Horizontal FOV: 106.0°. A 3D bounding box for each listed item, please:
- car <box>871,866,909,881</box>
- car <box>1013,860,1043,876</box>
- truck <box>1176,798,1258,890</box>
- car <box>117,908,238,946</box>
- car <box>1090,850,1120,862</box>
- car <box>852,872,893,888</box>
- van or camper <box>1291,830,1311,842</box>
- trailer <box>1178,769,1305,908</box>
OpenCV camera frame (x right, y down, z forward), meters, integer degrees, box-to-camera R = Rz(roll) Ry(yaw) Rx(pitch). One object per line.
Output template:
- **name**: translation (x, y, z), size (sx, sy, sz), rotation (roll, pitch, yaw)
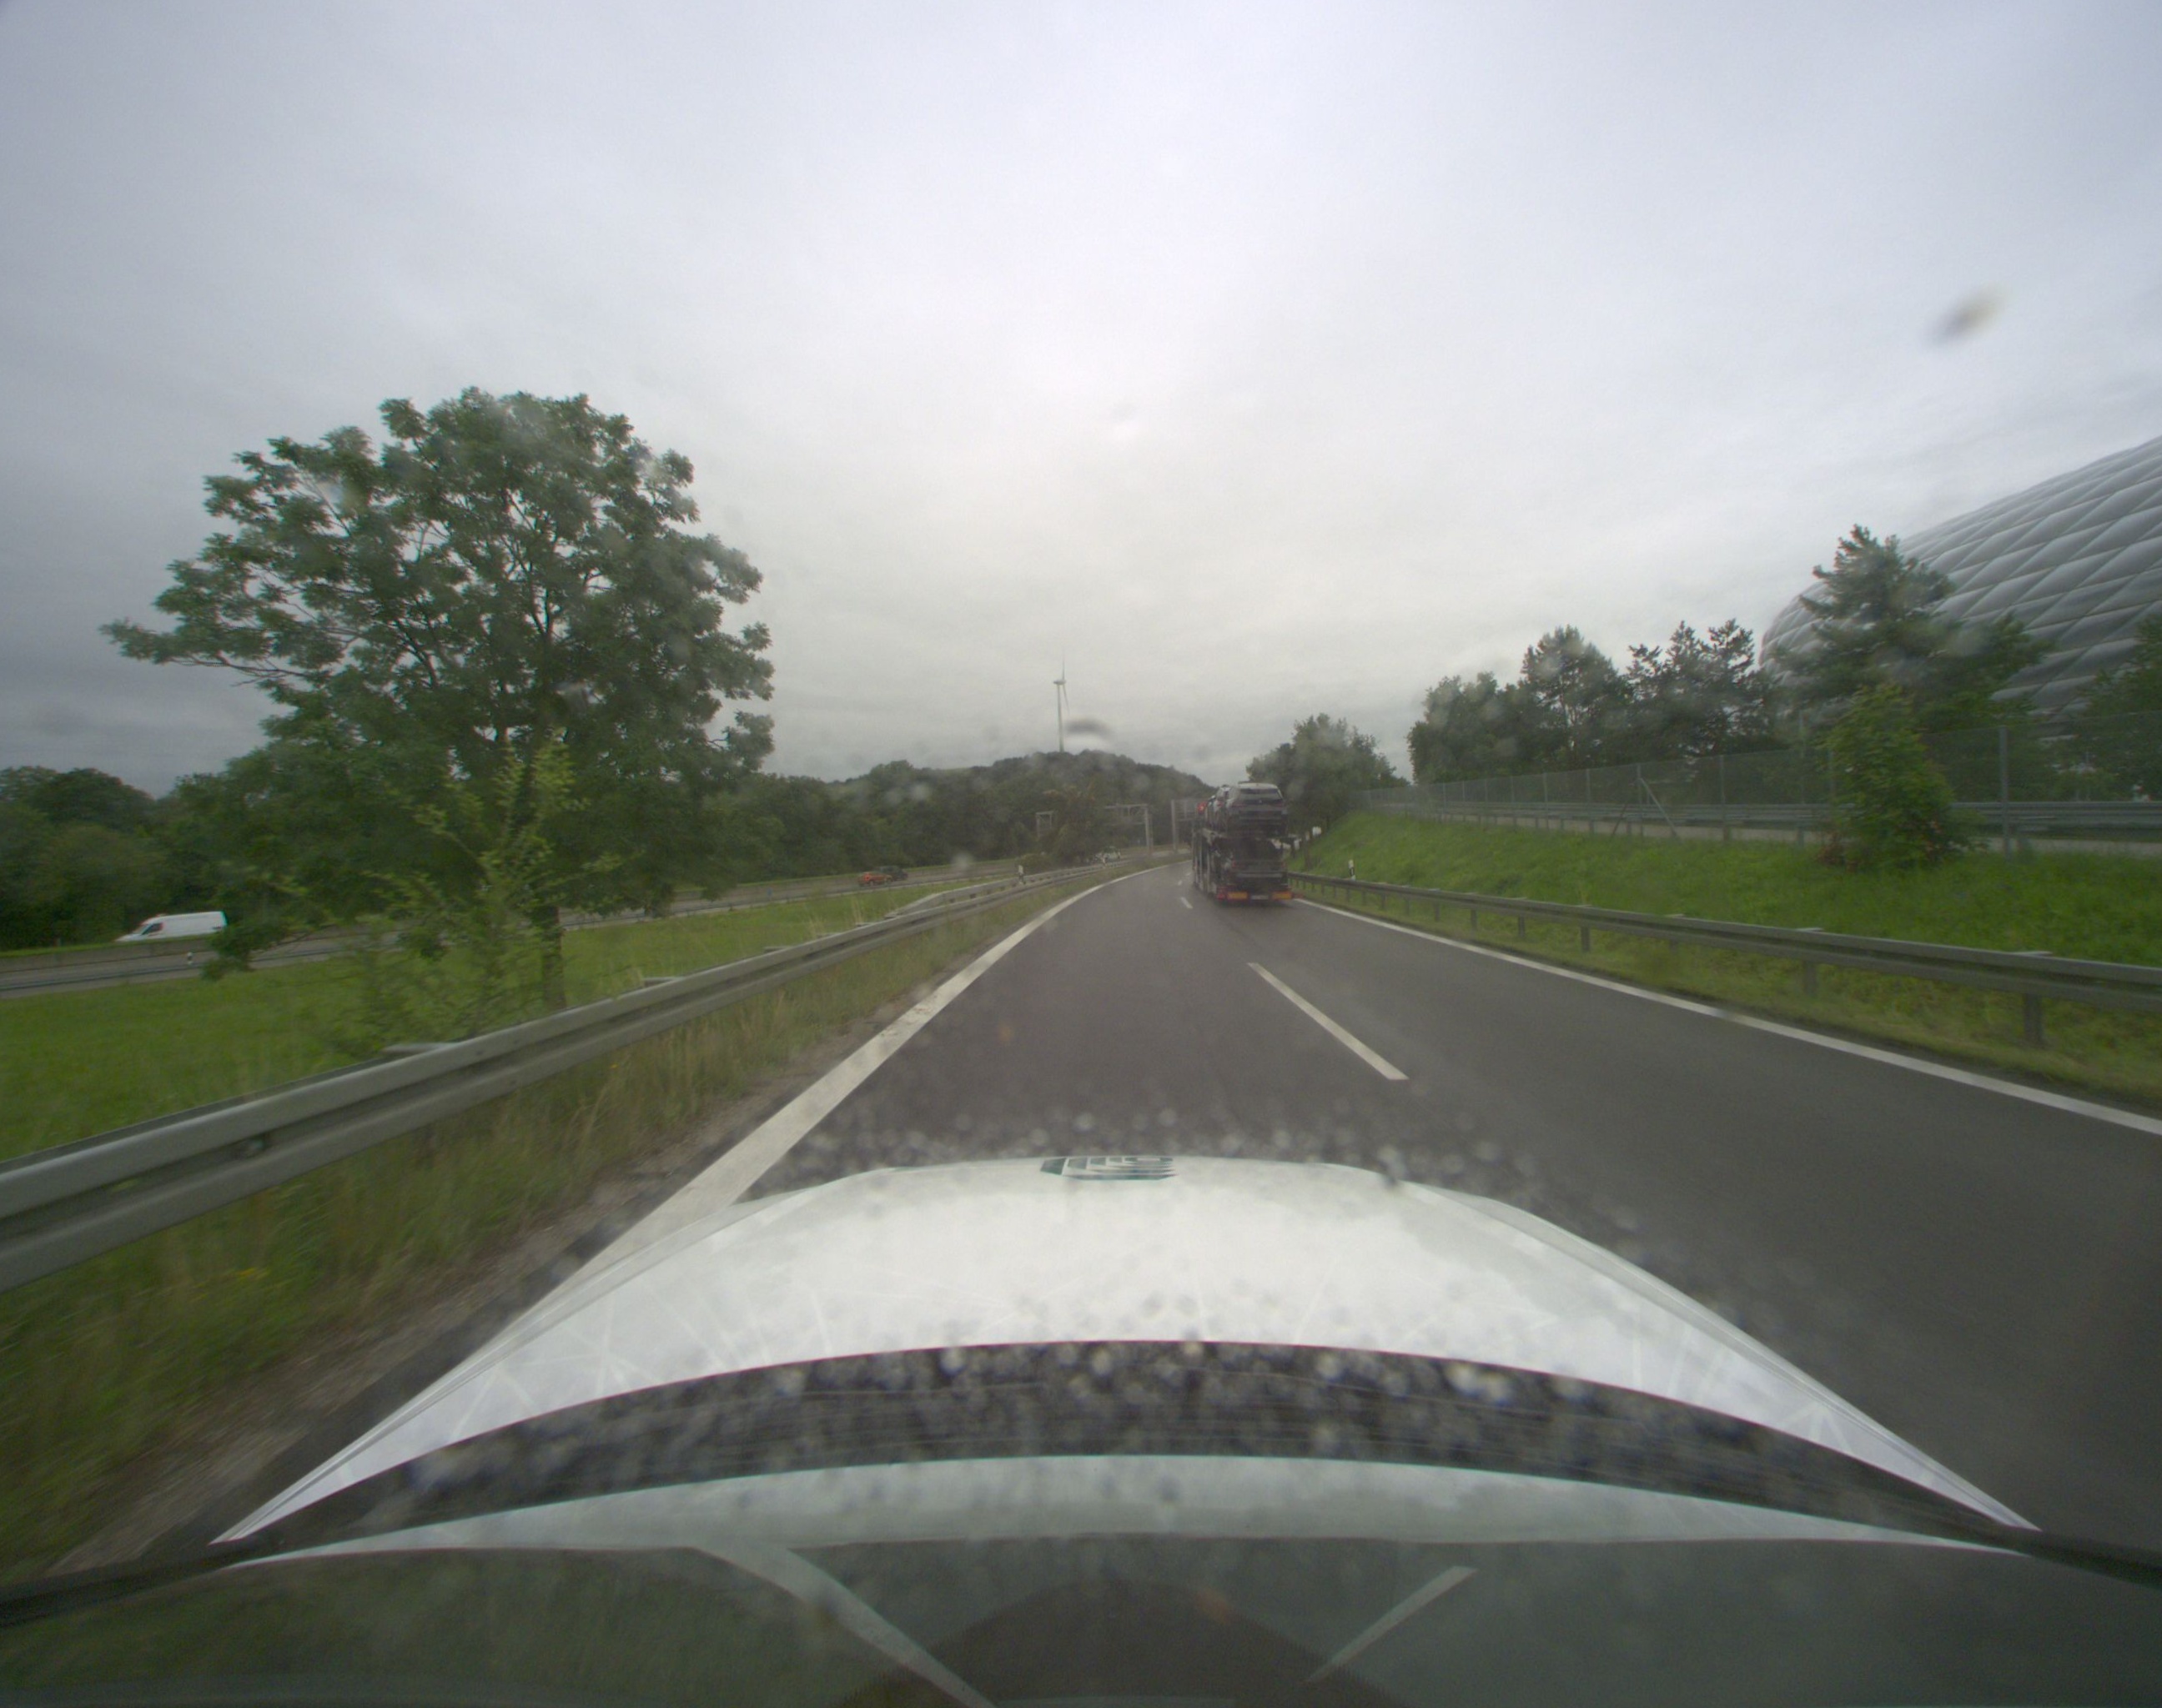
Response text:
- **car**: translation (-23.016, 2.354, 98.285), size (1.974, 1.661, 4.026), rotation (-2, 0, 37)
- **car**: translation (-7.439, 2.022, 115.359), size (1.974, 1.716, 4.027), rotation (-7, 0, 35)
- **truck**: translation (6.543, -0.402, 40.971), size (3.378, 4.000, 10.864), rotation (0, 0, 6)
- **car**: translation (-72.033, 5.802, 65.103), size (2.001, 2.102, 6.001), rotation (-6, 1, 27)
- **car**: translation (3.731, 0.276, 125.747), size (1.974, 1.717, 5.359), rotation (-3, 0, 35)
- **car**: translation (-23.360, 2.931, 91.472), size (1.906, 1.277, 4.027), rotation (-7, 0, 35)
- **van or camper**: translation (39.034, -3.158, 144.597), size (1.974, 2.013, 4.614), rotation (-2, 0, 33)
- **trailer**: translation (5.334, -0.434, 29.540), size (3.432, 4.000, 12.045), rotation (0, 0, 6)
